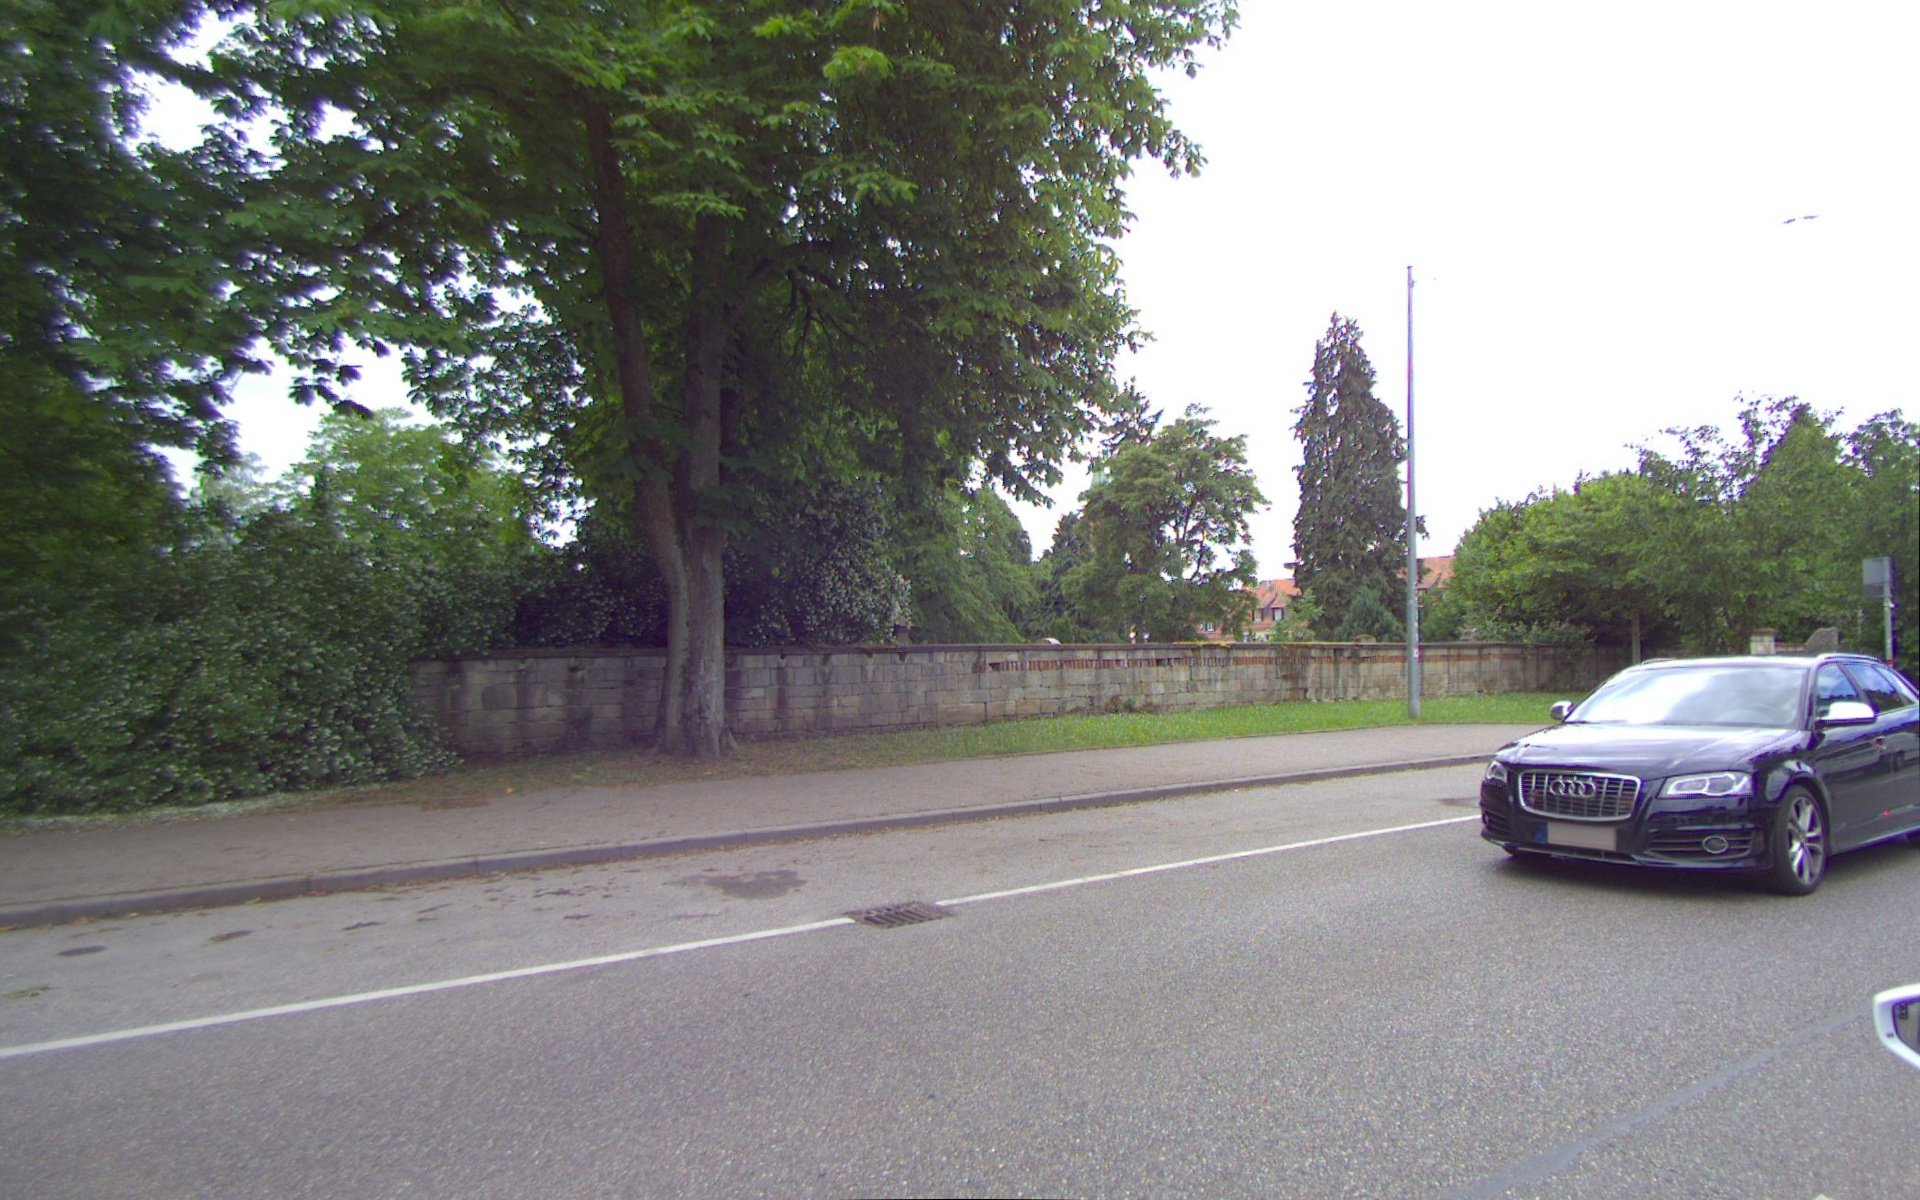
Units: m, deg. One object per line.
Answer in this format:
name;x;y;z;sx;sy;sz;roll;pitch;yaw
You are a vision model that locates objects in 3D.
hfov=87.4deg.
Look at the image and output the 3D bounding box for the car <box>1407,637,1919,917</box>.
car;5.326;1.050;7.158;4.062;1.472;1.851;1;-5;-30
